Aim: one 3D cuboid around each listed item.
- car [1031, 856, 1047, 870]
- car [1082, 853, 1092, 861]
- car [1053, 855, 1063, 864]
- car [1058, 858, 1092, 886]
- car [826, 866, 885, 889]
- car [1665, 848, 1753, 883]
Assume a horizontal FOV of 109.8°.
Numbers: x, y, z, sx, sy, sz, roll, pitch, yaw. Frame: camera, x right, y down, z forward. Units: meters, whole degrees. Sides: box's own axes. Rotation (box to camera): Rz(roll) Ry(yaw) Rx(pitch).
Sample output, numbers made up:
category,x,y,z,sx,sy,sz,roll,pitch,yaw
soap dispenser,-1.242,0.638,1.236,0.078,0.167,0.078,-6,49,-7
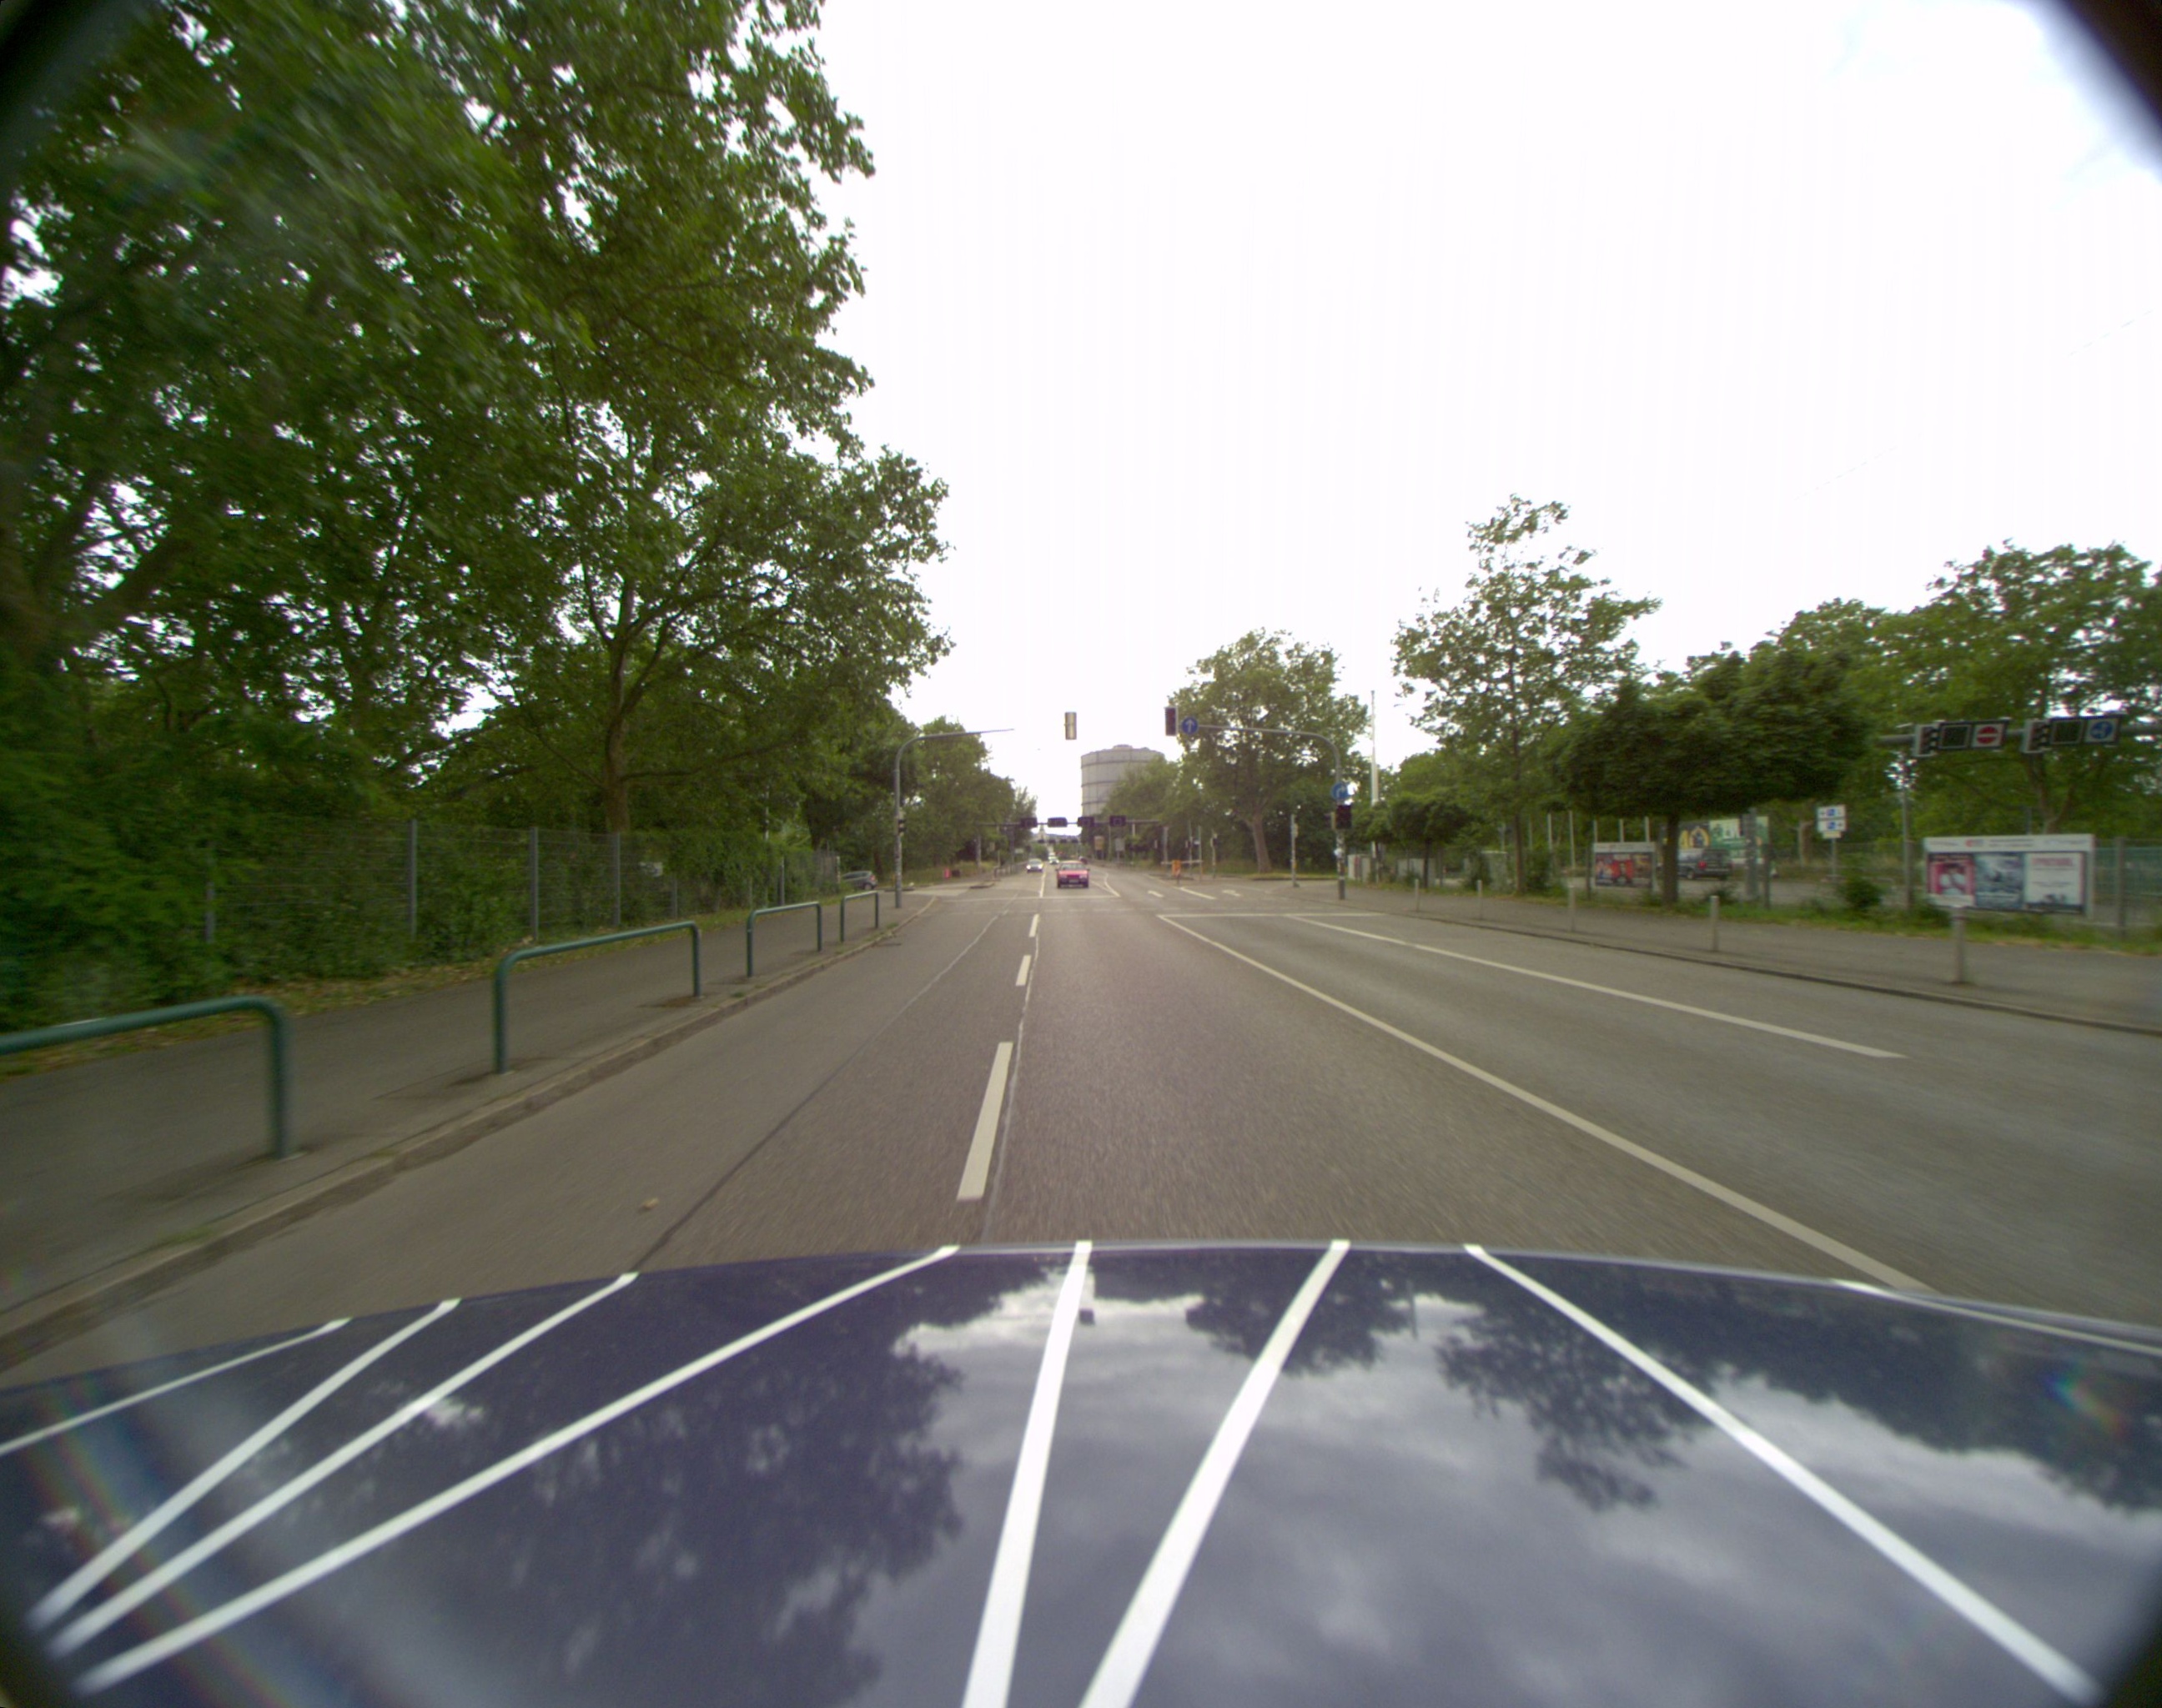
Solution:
category,x,y,z,sx,sy,sz,roll,pitch,yaw
car,-4.951,1.027,90.429,1.771,1.565,3.999,-1,0,-2
car,1.249,0.592,160.160,1.998,1.650,4.517,0,0,1
car,-5.088,1.179,170.006,1.998,1.792,4.000,-3,0,1
car,-0.359,0.979,41.413,1.696,1.434,3.999,1,-1,-3
car,-17.207,1.773,58.229,4.033,1.606,1.831,-2,-1,-8
car,35.139,0.602,42.685,1.884,1.824,4.596,-2,0,12
